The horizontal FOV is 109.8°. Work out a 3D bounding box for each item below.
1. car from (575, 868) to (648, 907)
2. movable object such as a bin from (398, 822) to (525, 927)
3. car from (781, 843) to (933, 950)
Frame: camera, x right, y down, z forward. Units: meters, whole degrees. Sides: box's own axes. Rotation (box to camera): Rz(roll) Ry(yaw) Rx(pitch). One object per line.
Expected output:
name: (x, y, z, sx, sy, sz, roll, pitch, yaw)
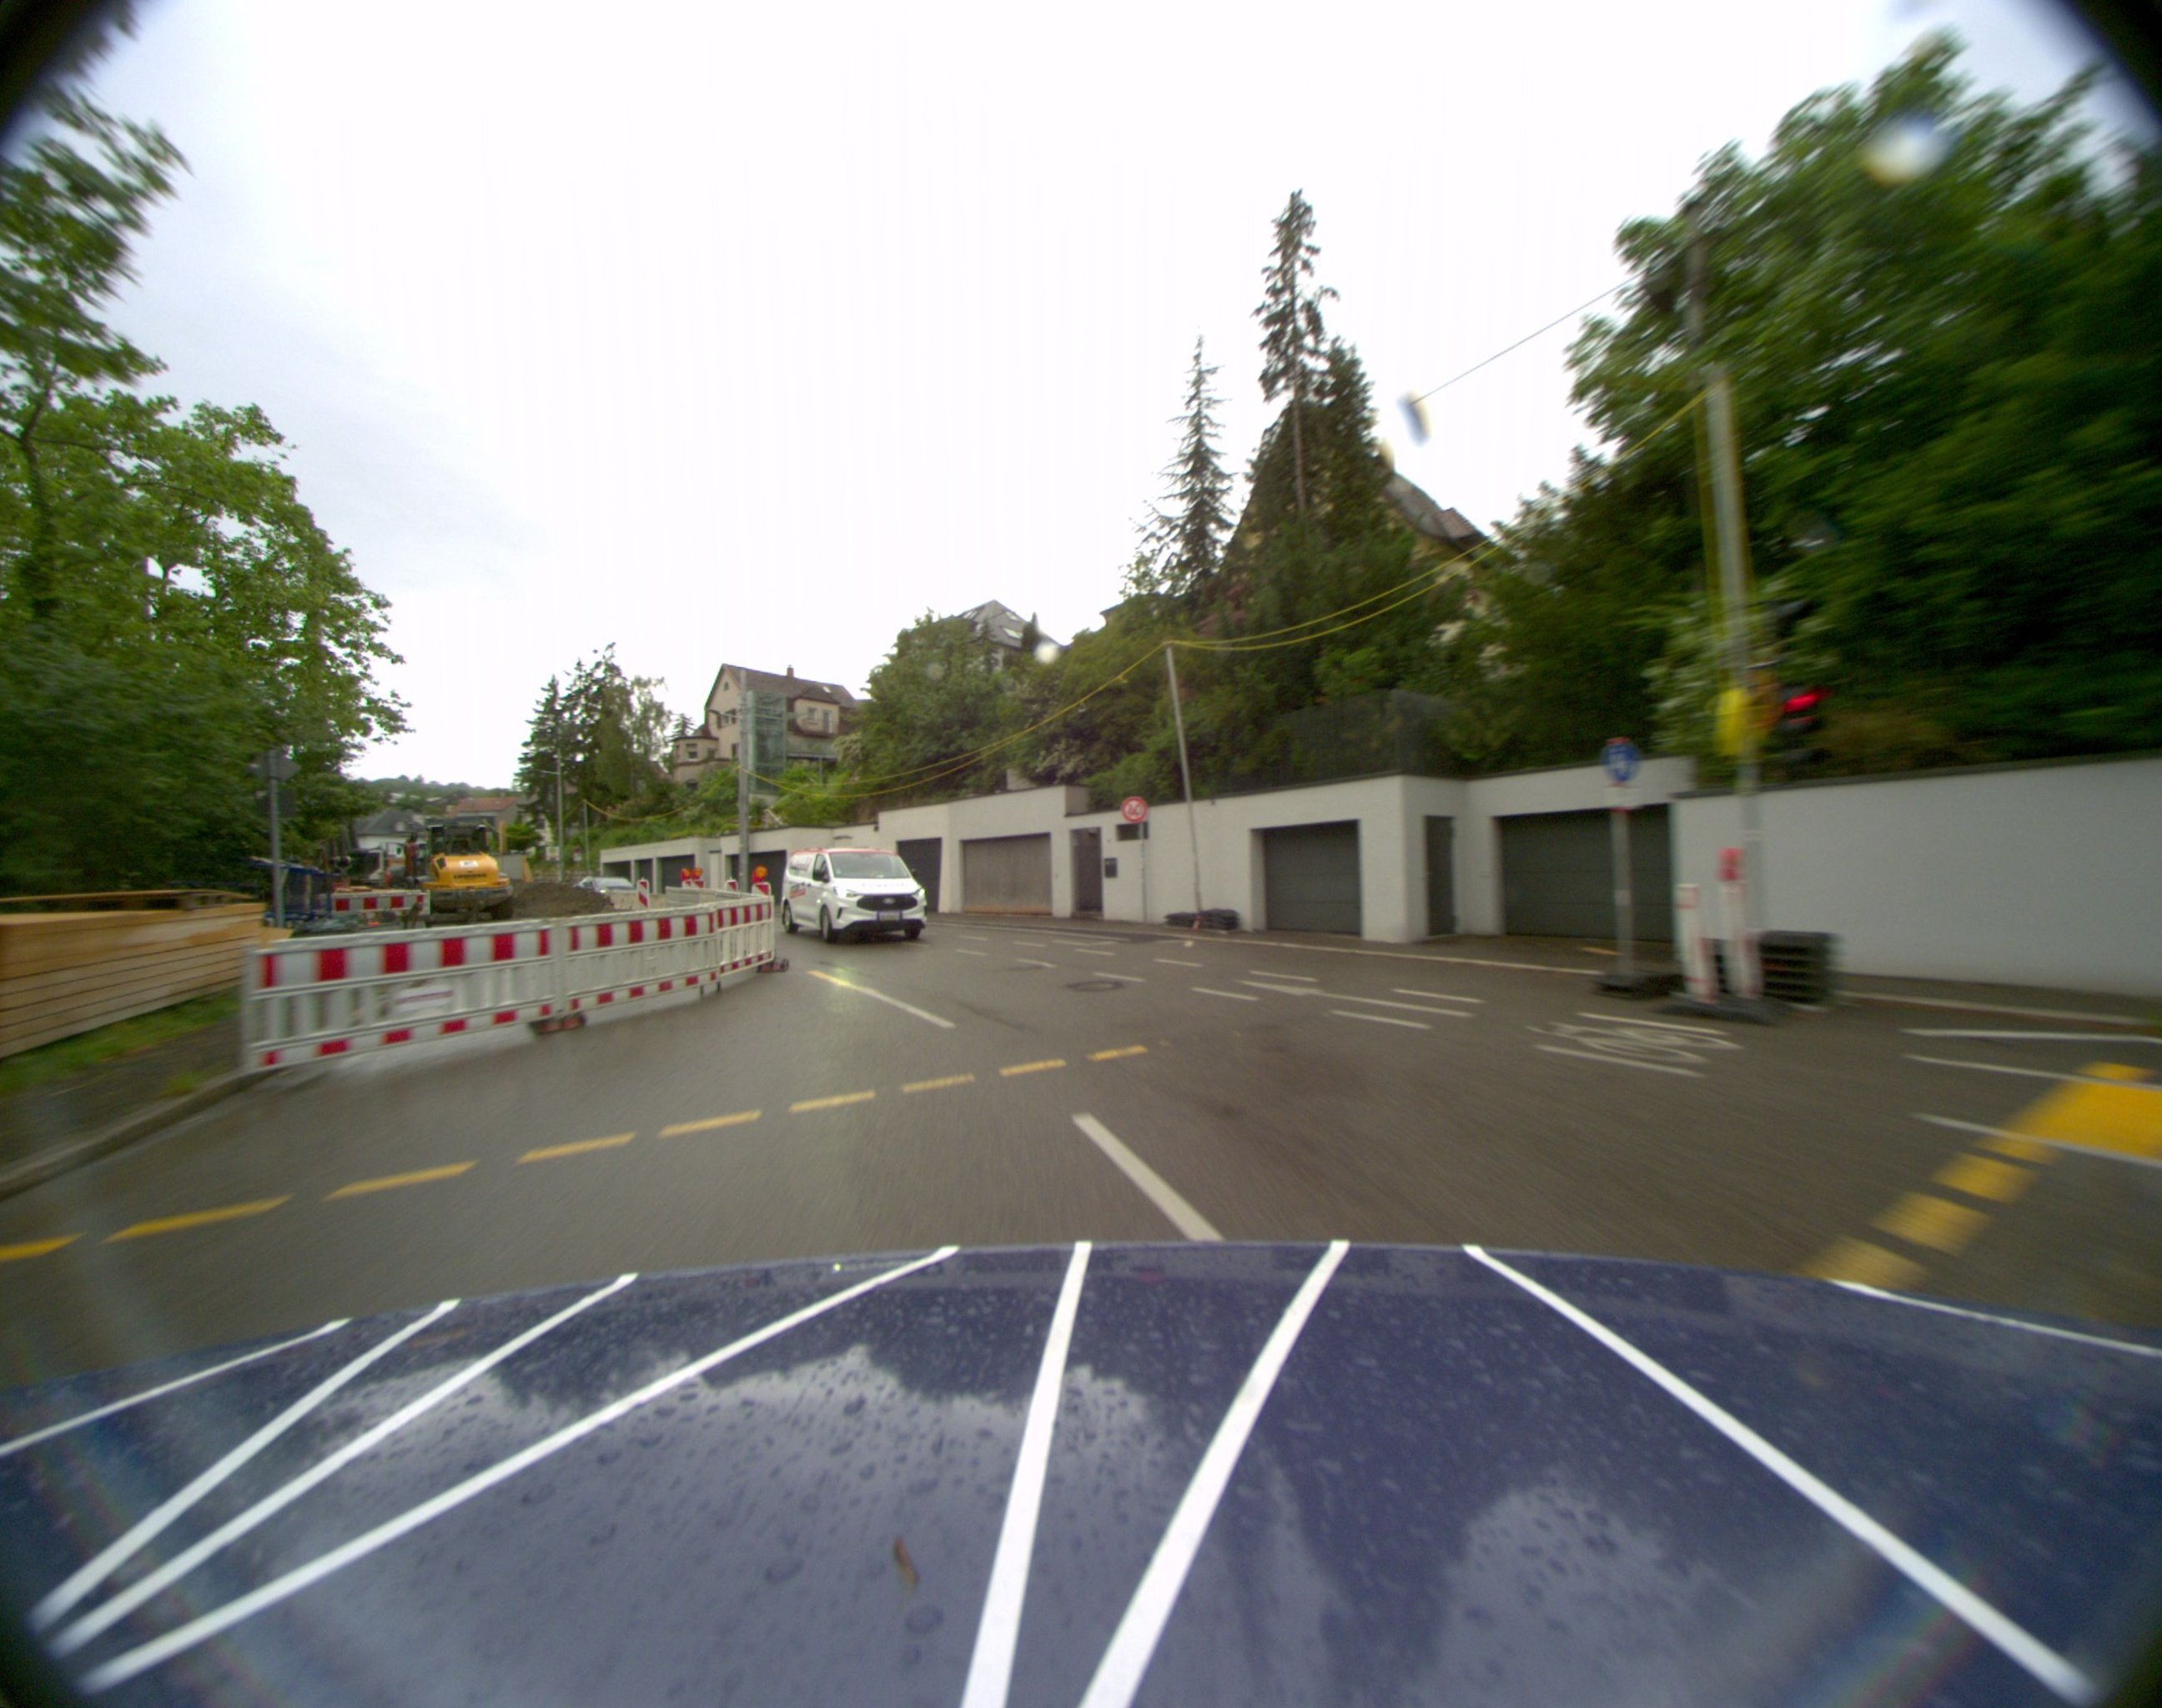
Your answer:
car: (-21.422, 1.519, 34.596, 2.004, 1.575, 3.989, -3, 0, -44)
movable object such as a bin: (-20.085, 0.603, 24.558, 4.844, 3.049, 2.540, 0, 0, 44)
car: (-5.153, 0.901, 16.949, 2.004, 2.001, 4.937, 2, -3, -31)
